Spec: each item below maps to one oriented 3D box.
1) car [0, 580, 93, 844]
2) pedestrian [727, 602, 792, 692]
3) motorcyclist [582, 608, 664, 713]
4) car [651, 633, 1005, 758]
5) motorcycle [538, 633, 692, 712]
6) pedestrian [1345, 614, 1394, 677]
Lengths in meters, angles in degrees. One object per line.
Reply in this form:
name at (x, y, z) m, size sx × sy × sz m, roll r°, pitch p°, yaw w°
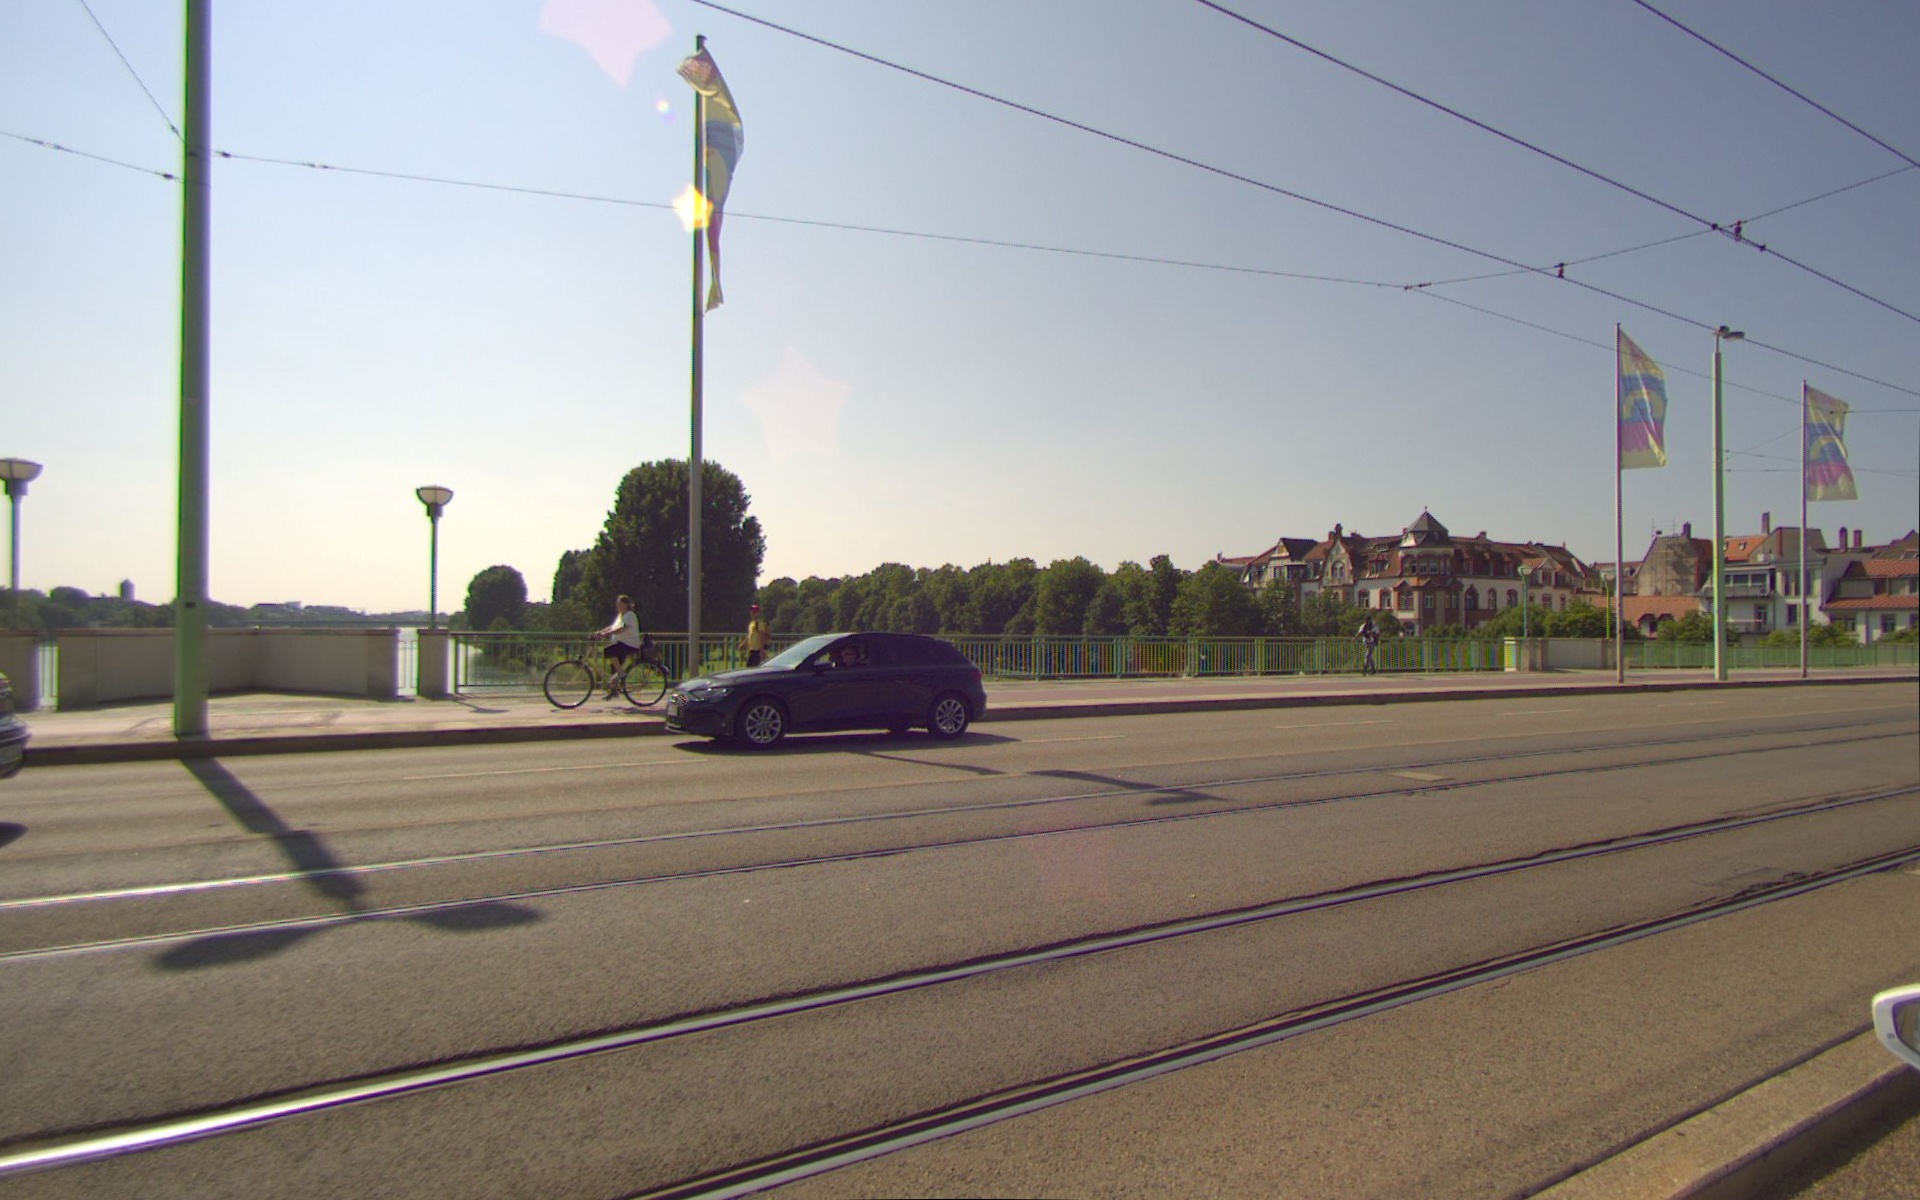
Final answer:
car at (-8.194, 0.705, 5.949) m, size 4.288 × 1.620 × 1.984 m, roll 1°, pitch -3°, yaw -31°
pedestrian at (-3.896, 0.895, 19.494) m, size 1.015 × 1.680 × 0.895 m, roll 1°, pitch -1°, yaw -28°
motorcyclist at (-5.233, 0.911, 15.570) m, size 1.057 × 1.570 × 0.796 m, roll 1°, pitch -1°, yaw -31°
car at (-1.685, 1.150, 13.321) m, size 4.333 × 1.380 × 1.749 m, roll 1°, pitch -1°, yaw -31°
motorcycle at (-5.311, 1.088, 15.527) m, size 2.154 × 1.125 × 0.697 m, roll 1°, pitch -1°, yaw -31°
pedestrian at (11.747, 1.289, 28.822) m, size 1.081 × 1.745 × 0.826 m, roll 1°, pitch -1°, yaw -30°
